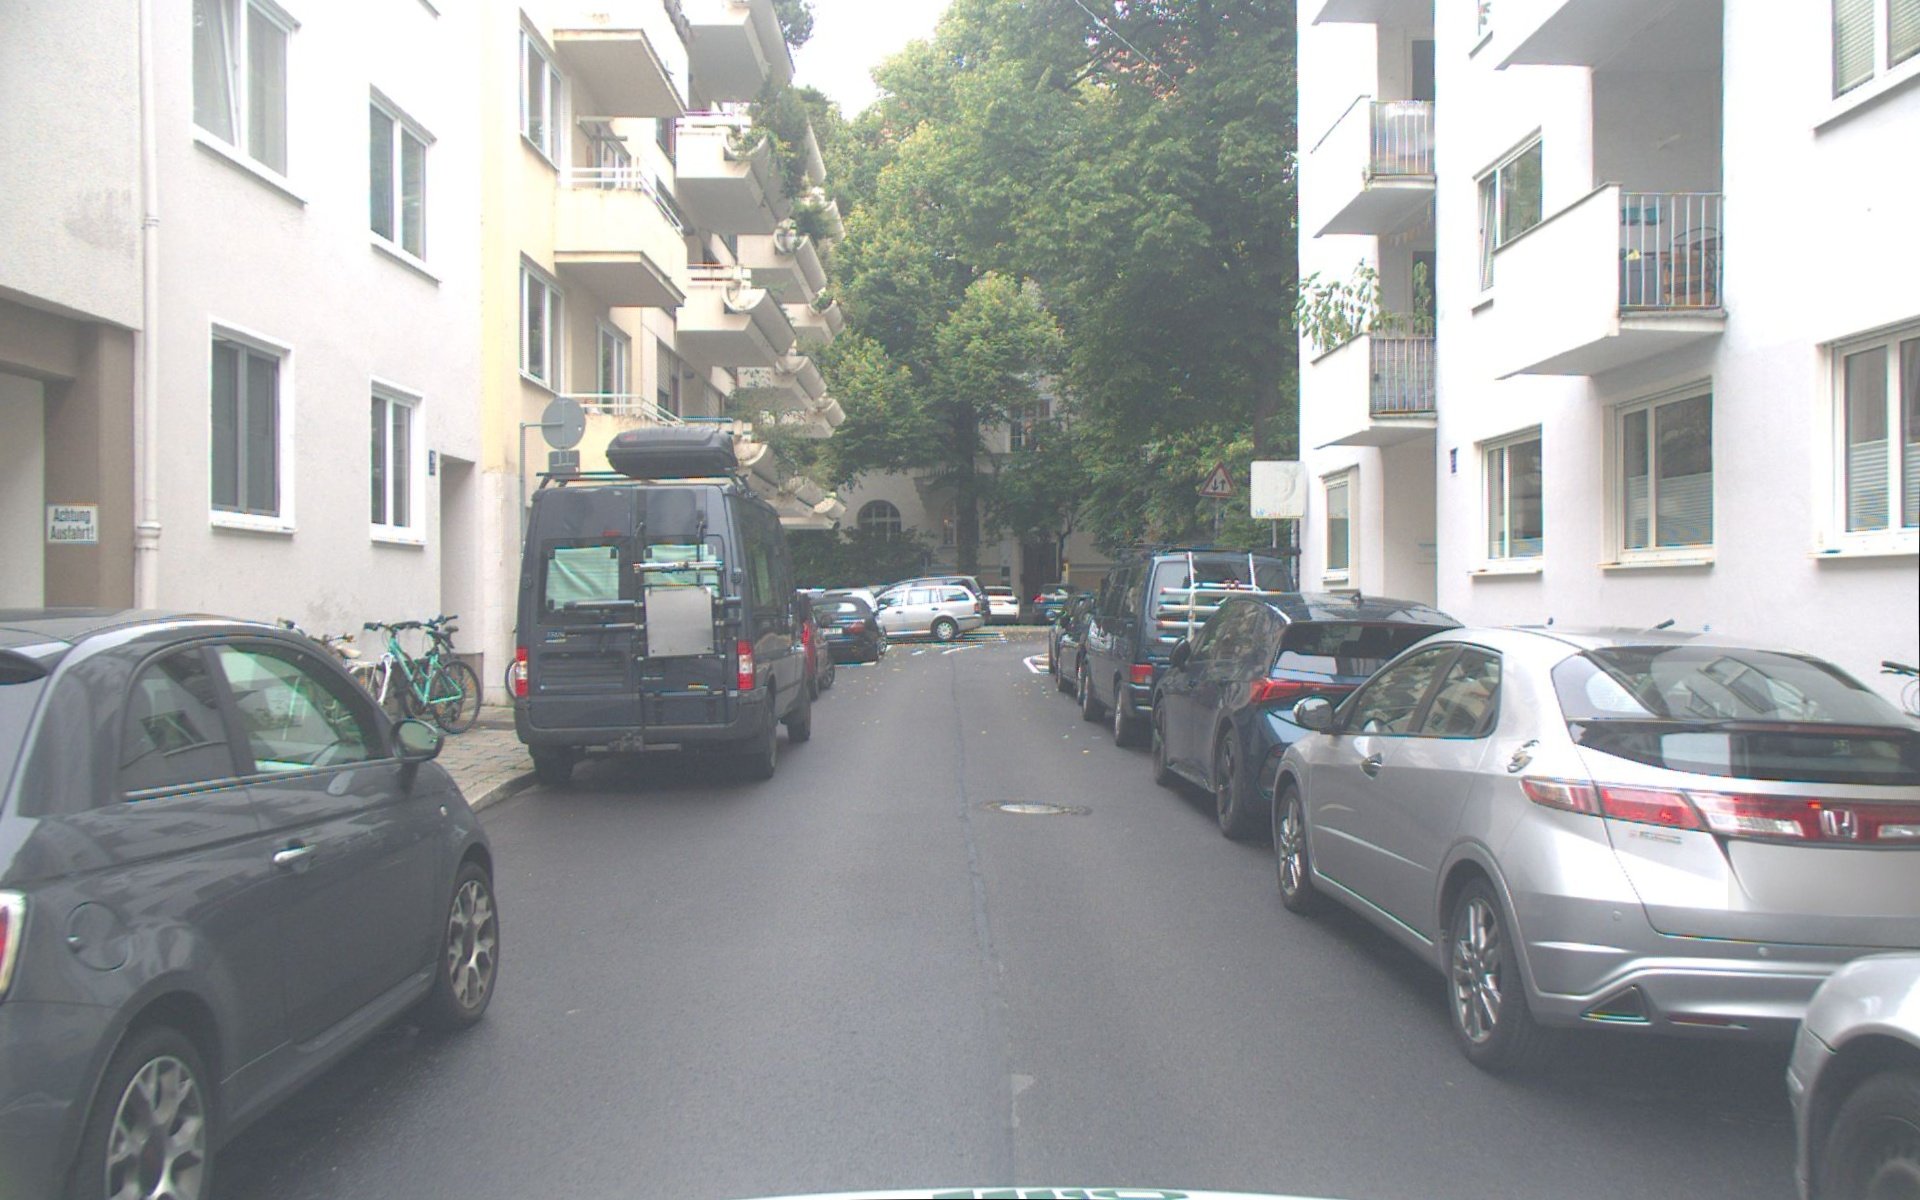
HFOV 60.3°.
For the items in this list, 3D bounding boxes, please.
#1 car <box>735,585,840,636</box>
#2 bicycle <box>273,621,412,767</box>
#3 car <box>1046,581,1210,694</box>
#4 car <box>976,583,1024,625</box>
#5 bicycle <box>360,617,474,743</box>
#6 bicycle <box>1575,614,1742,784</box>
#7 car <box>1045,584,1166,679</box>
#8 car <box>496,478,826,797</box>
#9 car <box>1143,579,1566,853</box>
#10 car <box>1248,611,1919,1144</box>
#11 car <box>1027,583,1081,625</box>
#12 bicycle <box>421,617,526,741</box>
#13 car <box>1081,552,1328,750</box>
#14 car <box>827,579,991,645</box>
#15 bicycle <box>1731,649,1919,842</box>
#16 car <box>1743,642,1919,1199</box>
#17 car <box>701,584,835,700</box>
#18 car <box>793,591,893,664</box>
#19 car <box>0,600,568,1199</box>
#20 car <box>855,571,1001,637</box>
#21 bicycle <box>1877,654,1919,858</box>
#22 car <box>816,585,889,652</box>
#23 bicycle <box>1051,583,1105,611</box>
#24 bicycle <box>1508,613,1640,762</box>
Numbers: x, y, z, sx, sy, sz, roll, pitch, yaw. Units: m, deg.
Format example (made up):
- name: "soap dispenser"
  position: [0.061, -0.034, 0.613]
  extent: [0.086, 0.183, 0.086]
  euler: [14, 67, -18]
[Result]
- name: "car"
  position: [-5.729, 0.330, 54.915]
  extent: [3.240, 1.659, 1.501]
  euler: [0, 0, -20]
- name: "bicycle"
  position: [-5.204, 0.756, 14.037]
  extent: [0.453, 1.117, 1.870]
  euler: [0, 0, 1]
- name: "car"
  position: [2.297, 0.477, 23.586]
  extent: [1.796, 1.444, 4.057]
  euler: [-1, 0, -2]
- name: "car"
  position: [1.488, 0.118, 60.505]
  extent: [1.683, 1.456, 4.001]
  euler: [0, 1, 2]
- name: "bicycle"
  position: [-5.201, 0.734, 15.941]
  extent: [0.453, 1.117, 1.870]
  euler: [0, 0, 1]
- name: "bicycle"
  position: [5.224, 0.703, 12.456]
  extent: [0.559, 1.171, 1.563]
  euler: [0, 0, -2]
- name: "car"
  position: [2.389, 0.478, 27.995]
  extent: [1.707, 1.466, 4.000]
  euler: [-1, 0, 0]
- name: "car"
  position: [-2.457, 0.274, 15.083]
  extent: [1.977, 2.318, 5.390]
  euler: [-2, 0, 0]
- name: "car"
  position: [2.565, 0.674, 11.974]
  extent: [1.867, 1.581, 4.624]
  euler: [0, 0, -1]
- name: "car"
  position: [2.551, 0.832, 6.889]
  extent: [1.724, 1.456, 4.259]
  euler: [3, 0, -3]
- name: "car"
  position: [3.405, 0.127, 59.439]
  extent: [1.753, 1.456, 4.003]
  euler: [0, 1, 6]
- name: "bicycle"
  position: [-4.736, 0.739, 16.198]
  extent: [0.453, 1.117, 1.870]
  euler: [0, 0, 1]
- name: "car"
  position: [2.439, 0.465, 17.711]
  extent: [1.836, 1.822, 4.781]
  euler: [0, 0, -1]
- name: "car"
  position: [-1.320, 0.301, 43.225]
  extent: [4.142, 1.480, 1.721]
  euler: [-3, 1, -2]
- name: "bicycle"
  position: [5.288, 0.836, 10.018]
  extent: [0.467, 1.020, 1.552]
  euler: [0, 0, -2]
- name: "car"
  position: [2.776, 0.825, 1.826]
  extent: [1.699, 1.454, 4.200]
  euler: [0, 0, -2]
- name: "car"
  position: [-2.688, 0.546, 23.857]
  extent: [1.587, 1.522, 3.708]
  euler: [-1, 0, -2]
- name: "car"
  position: [-2.344, 0.517, 34.087]
  extent: [1.760, 1.300, 4.616]
  euler: [-2, 1, -1]
- name: "car"
  position: [-2.443, 0.776, 4.879]
  extent: [1.578, 1.471, 3.743]
  euler: [-3, 0, 1]
- name: "car"
  position: [-0.958, 0.097, 48.482]
  extent: [4.135, 1.713, 1.901]
  euler: [-3, 1, -3]
- name: "bicycle"
  position: [5.335, 0.839, 8.407]
  extent: [0.467, 1.066, 1.521]
  euler: [0, 1, -2]
- name: "car"
  position: [-2.515, 0.396, 39.385]
  extent: [1.529, 1.446, 3.832]
  euler: [-2, 1, -2]
- name: "bicycle"
  position: [4.863, -0.116, 68.318]
  extent: [2.186, 1.135, 0.576]
  euler: [1, 0, 28]
- name: "bicycle"
  position: [5.172, 0.706, 14.009]
  extent: [0.559, 1.171, 1.430]
  euler: [0, 0, -2]
